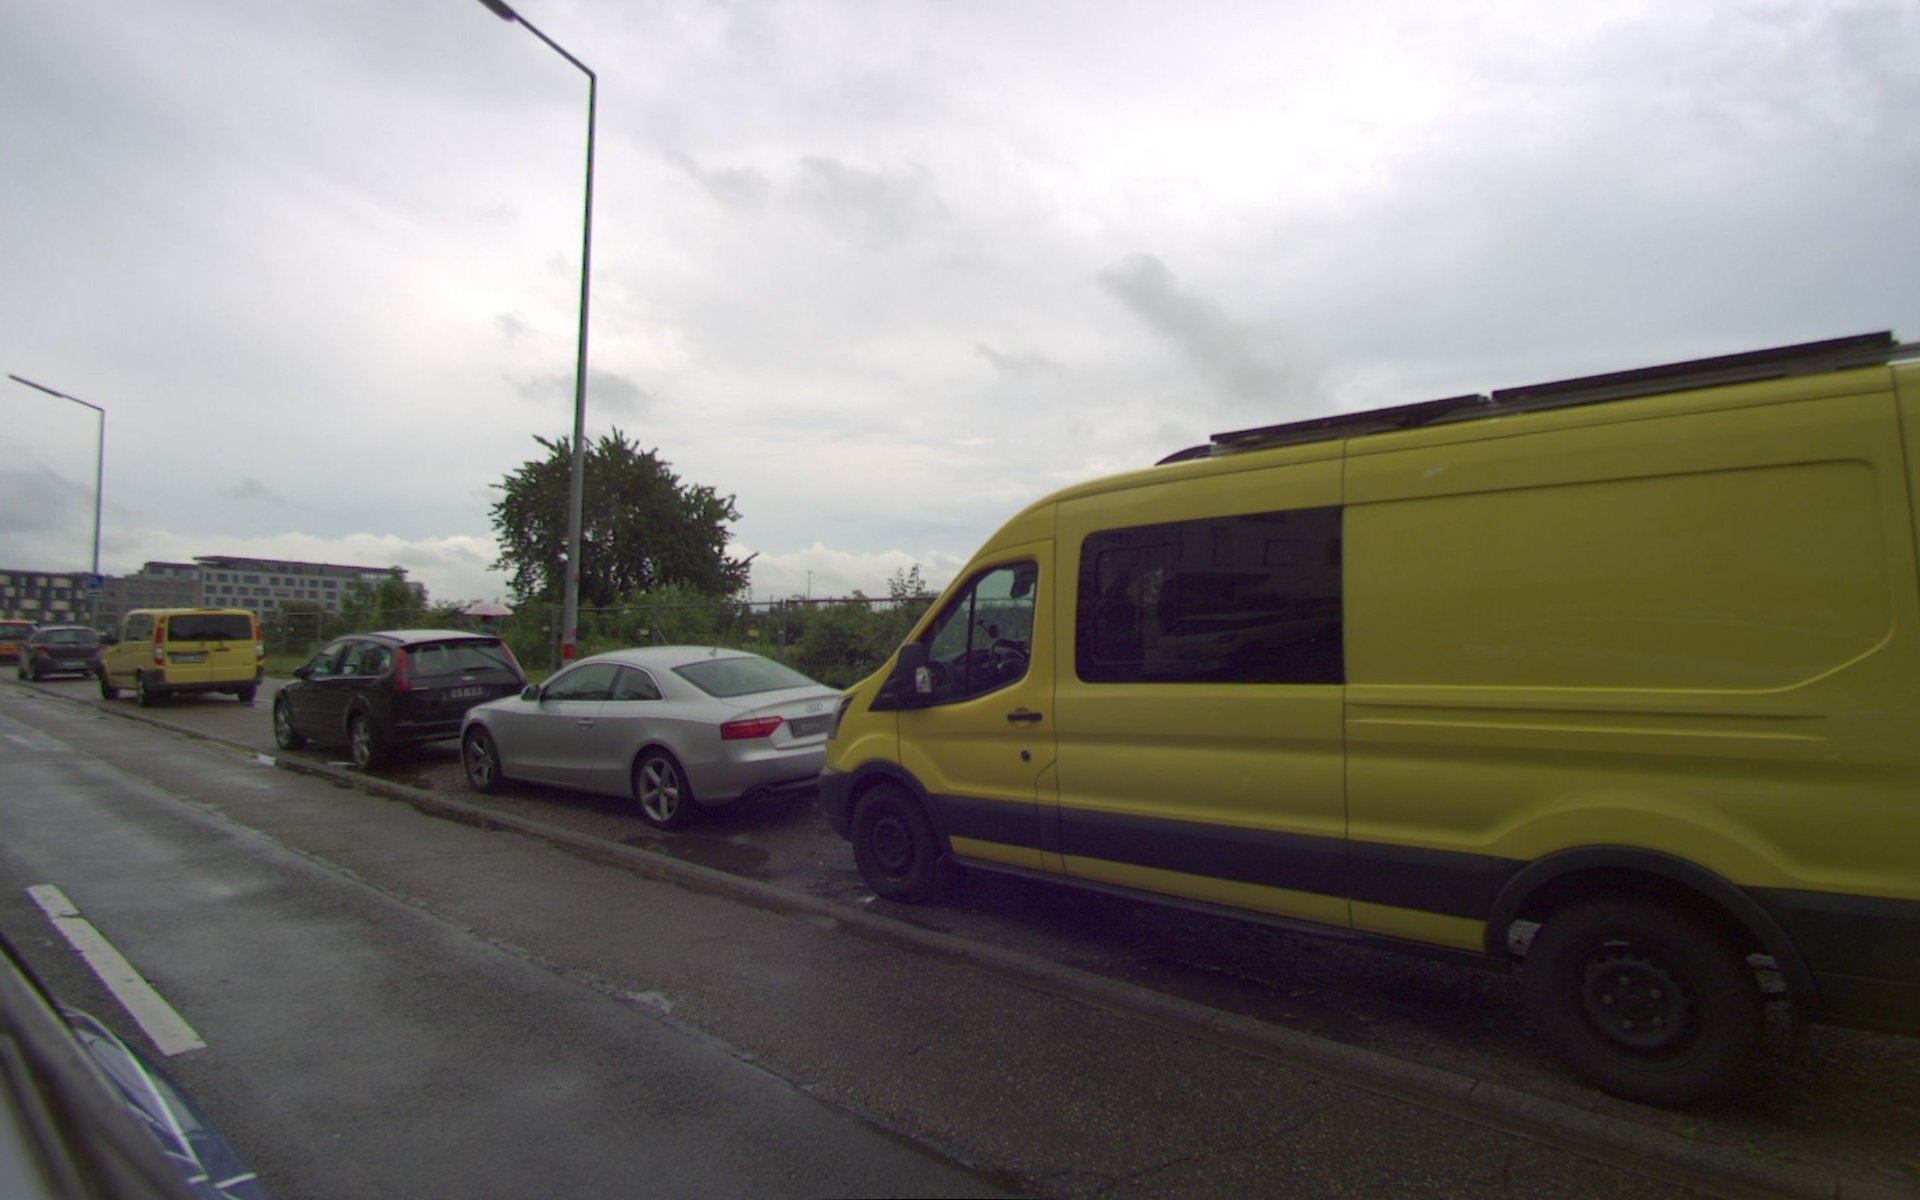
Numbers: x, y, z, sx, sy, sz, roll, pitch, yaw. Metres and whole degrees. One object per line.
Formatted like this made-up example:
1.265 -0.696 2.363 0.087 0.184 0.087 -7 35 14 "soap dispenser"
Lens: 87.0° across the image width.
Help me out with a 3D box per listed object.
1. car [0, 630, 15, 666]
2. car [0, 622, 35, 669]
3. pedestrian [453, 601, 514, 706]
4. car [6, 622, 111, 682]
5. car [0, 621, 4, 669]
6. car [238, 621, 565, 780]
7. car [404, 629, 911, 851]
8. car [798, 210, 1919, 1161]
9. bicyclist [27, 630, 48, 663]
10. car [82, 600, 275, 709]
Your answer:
-43.139 2.074 44.563 4.889 1.513 1.666 -1 -4 41 "car"
-38.487 1.790 40.384 4.331 1.781 1.919 -2 -4 43 "car"
-9.449 1.048 20.049 0.980 2.029 0.734 -2 -3 41 "pedestrian"
-26.080 1.470 29.238 4.031 1.573 1.785 -2 -1 41 "car"
-47.748 2.126 48.675 5.554 2.253 1.922 -2 -4 41 "car"
-7.228 1.092 12.845 5.013 1.606 1.973 -1 -1 40 "car"
-3.079 1.040 9.495 5.336 1.445 1.990 -1 0 40 "car"
1.953 0.282 5.093 6.080 2.715 2.168 -1 -1 43 "car"
-51.770 2.608 56.805 1.008 1.844 0.691 -2 -3 41 "bicyclist"
-16.378 1.050 21.063 6.061 1.971 1.996 -1 -2 41 "car"
